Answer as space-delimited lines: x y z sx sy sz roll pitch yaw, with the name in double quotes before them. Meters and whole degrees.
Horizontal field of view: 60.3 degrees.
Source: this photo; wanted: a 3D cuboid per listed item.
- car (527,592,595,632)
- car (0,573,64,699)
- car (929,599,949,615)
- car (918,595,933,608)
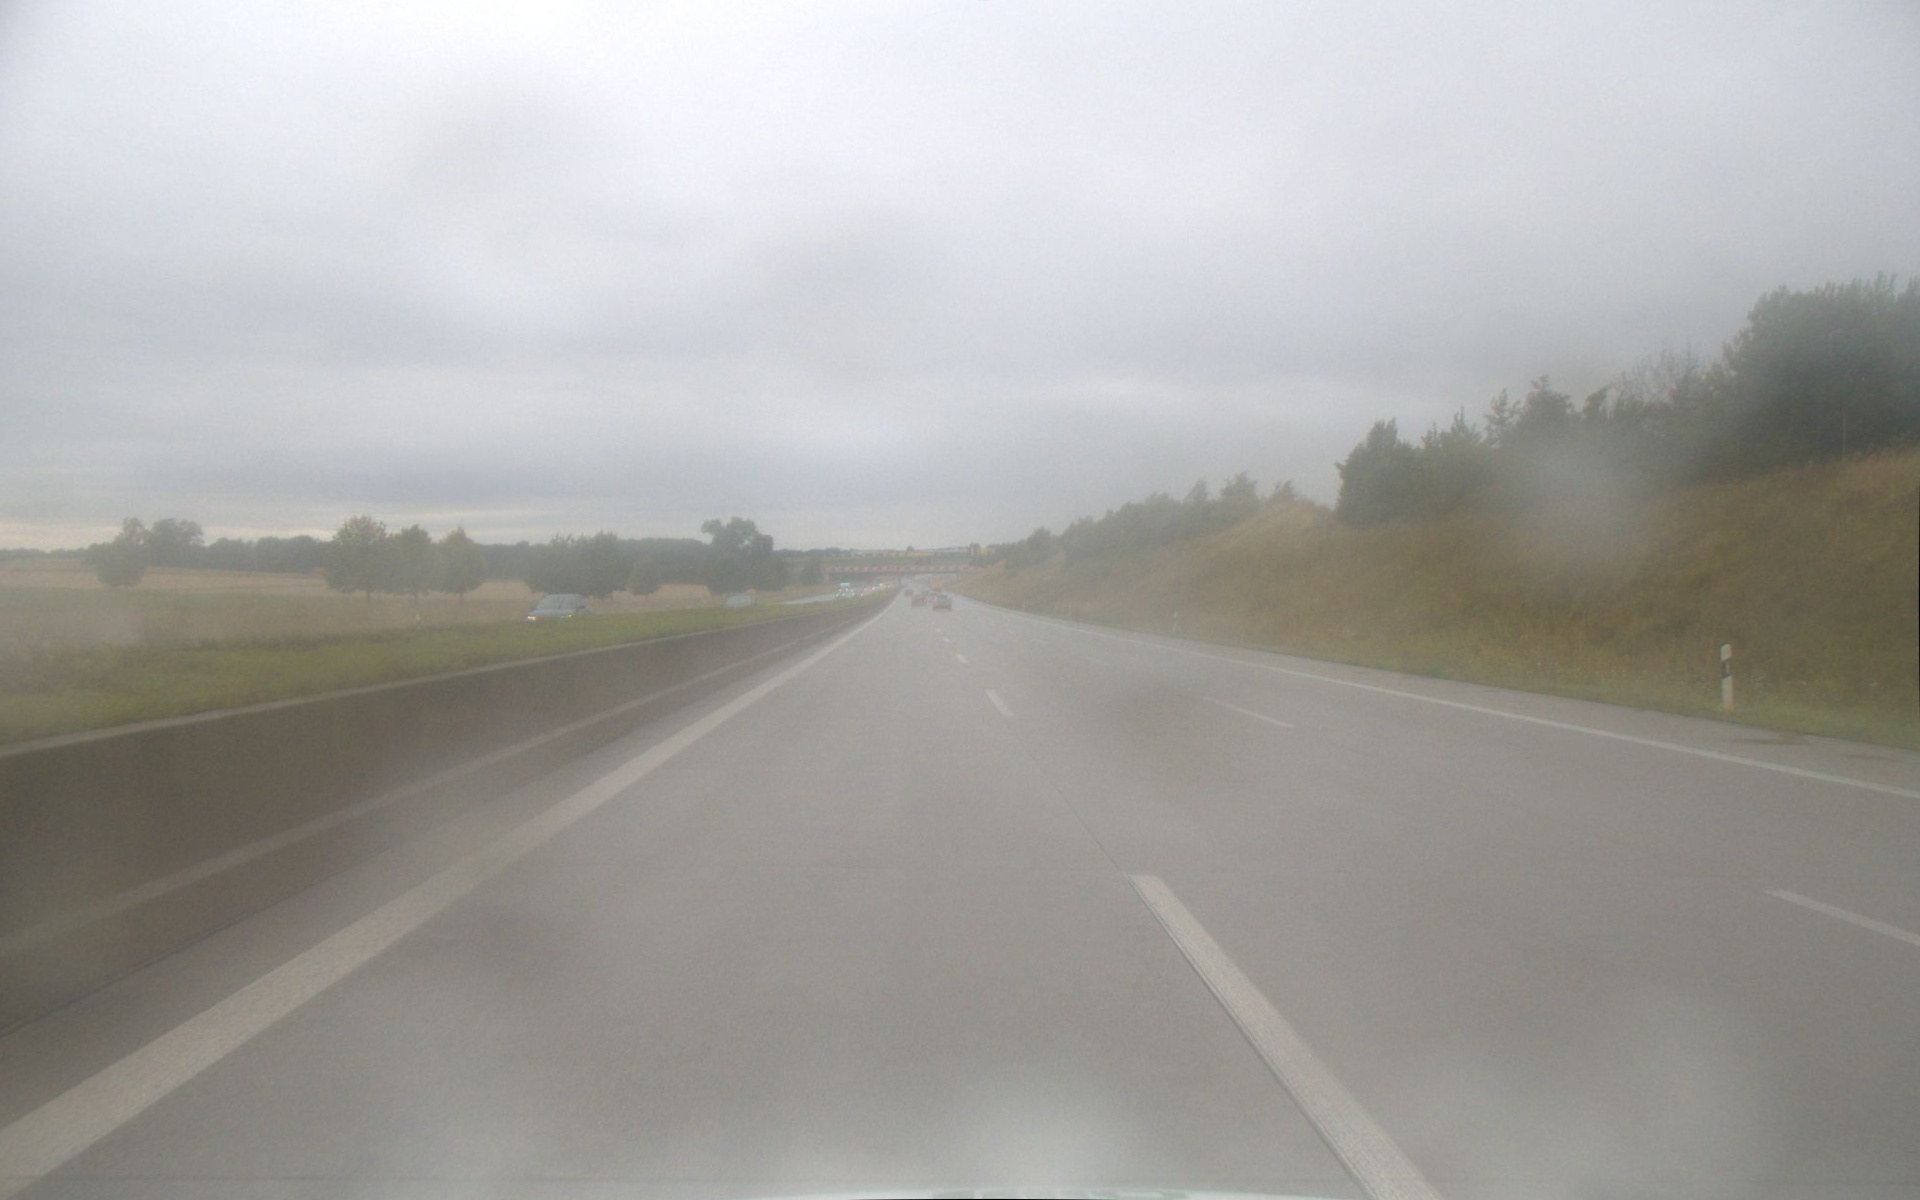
"car" -14.681 0.424 61.042 1.569 1.411 4.622 0 1 -2
"car" -13.633 0.516 20.448 2.067 1.659 5.850 -1 1 -2
"car" -2.105 0.688 163.613 1.811 1.354 4.428 1 2 -3
"car" -3.900 0.130 188.543 1.694 1.354 4.429 1 2 -1
